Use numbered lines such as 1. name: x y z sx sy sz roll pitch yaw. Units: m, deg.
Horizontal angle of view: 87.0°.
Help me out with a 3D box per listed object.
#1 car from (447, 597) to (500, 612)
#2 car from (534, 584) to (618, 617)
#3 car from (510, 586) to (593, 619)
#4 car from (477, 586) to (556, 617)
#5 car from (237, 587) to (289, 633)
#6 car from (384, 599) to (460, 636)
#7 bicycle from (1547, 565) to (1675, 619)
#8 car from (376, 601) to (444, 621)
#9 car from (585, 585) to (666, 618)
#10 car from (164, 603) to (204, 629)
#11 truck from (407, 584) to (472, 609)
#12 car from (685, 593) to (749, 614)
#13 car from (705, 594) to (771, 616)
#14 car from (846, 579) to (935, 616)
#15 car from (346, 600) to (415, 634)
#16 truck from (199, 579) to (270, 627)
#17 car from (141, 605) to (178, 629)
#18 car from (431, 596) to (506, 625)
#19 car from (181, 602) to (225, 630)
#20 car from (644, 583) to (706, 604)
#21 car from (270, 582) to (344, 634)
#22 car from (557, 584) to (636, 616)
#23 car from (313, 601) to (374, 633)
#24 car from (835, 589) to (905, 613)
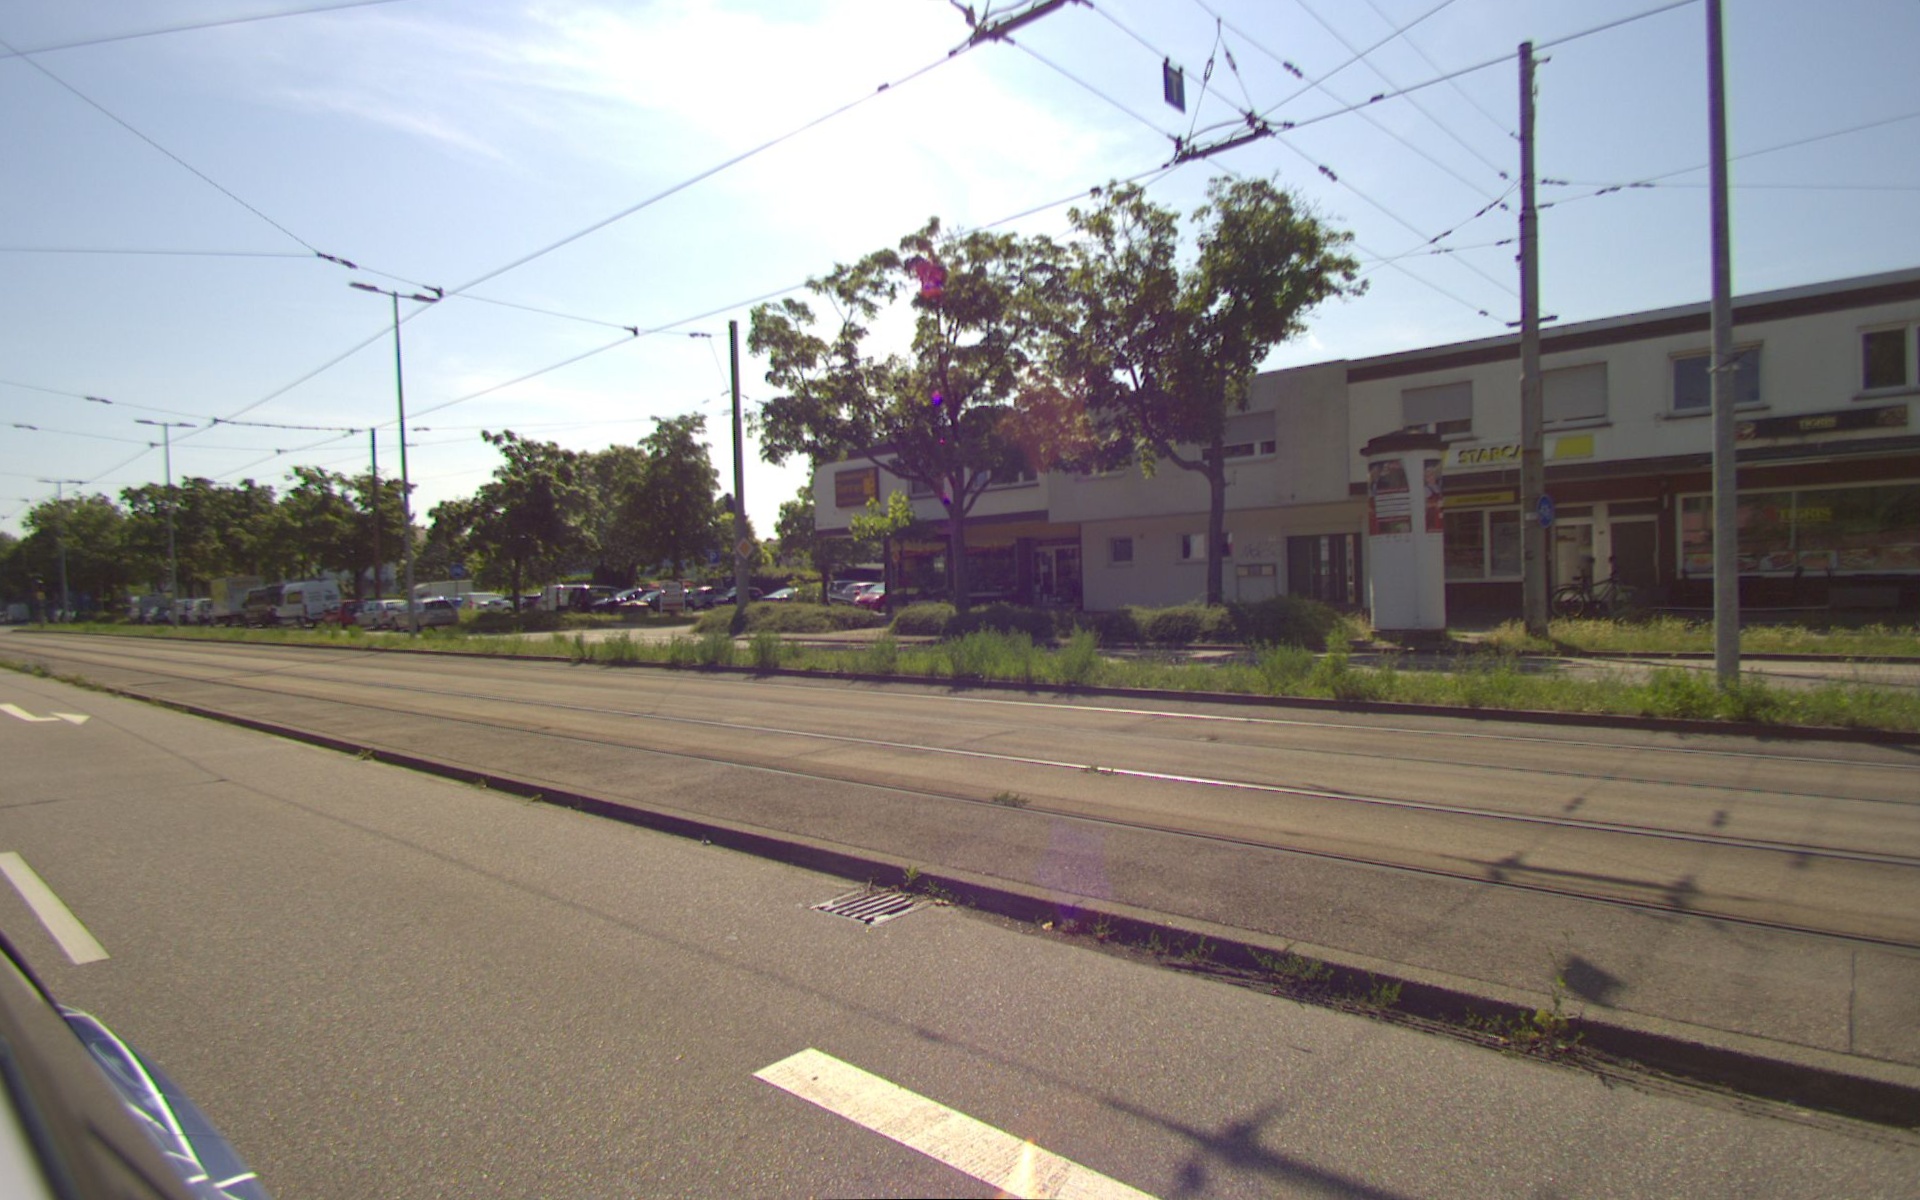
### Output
1. car: -45.922 0.416 95.647 1.676 1.345 4.198 -1 1 41
2. car: -22.052 -0.009 58.194 1.988 1.751 4.068 -1 1 38
3. car: -24.027 0.127 59.676 1.988 1.751 4.068 -1 1 38
4. car: -28.014 0.078 64.009 1.988 1.751 4.068 -1 1 38
5. car: -42.421 0.606 61.564 4.005 2.643 1.483 -1 4 41
6. car: -25.189 0.816 47.333 4.255 1.544 1.654 -1 4 41
7. bicycle: 14.694 -0.165 22.897 2.333 1.161 0.779 -1 -1 42
8. car: -42.054 0.803 77.445 1.676 1.345 4.198 -1 1 41
9. car: -17.952 0.075 54.439 1.676 1.646 3.761 -1 1 42
10. car: -59.733 1.244 77.838 4.056 1.859 1.484 -1 4 40
11. truck: -52.955 -0.382 103.054 1.988 2.398 5.584 -1 1 38
12. car: -17.139 0.243 71.456 1.676 1.345 4.197 -1 1 42
13. car: -15.280 0.362 69.770 1.676 1.345 4.197 -1 1 42
14. car: -3.235 -0.119 47.990 1.676 1.616 4.197 -1 1 42
15. car: -29.248 0.856 51.032 4.255 1.544 1.654 -1 4 41
16. truck: -48.410 0.214 67.478 5.902 2.956 2.476 -1 4 42
17. car: -64.393 1.372 81.378 3.685 1.799 1.484 -1 4 40
18. car: -33.287 0.700 68.429 5.739 1.825 2.560 -1 1 42
19. car: -54.747 1.145 73.149 4.631 1.817 1.483 -1 4 41
20. car: -21.010 -0.490 74.799 1.674 1.345 4.201 -1 1 39
21. car: -37.241 0.465 57.662 5.201 2.673 2.036 -1 4 41
22. car: -20.252 -0.008 56.501 1.676 1.646 3.761 -1 1 42
23. car: -33.145 0.925 54.377 3.791 1.544 1.654 -1 4 41
24. car: -5.464 0.042 61.690 1.676 1.345 4.197 -1 1 42
